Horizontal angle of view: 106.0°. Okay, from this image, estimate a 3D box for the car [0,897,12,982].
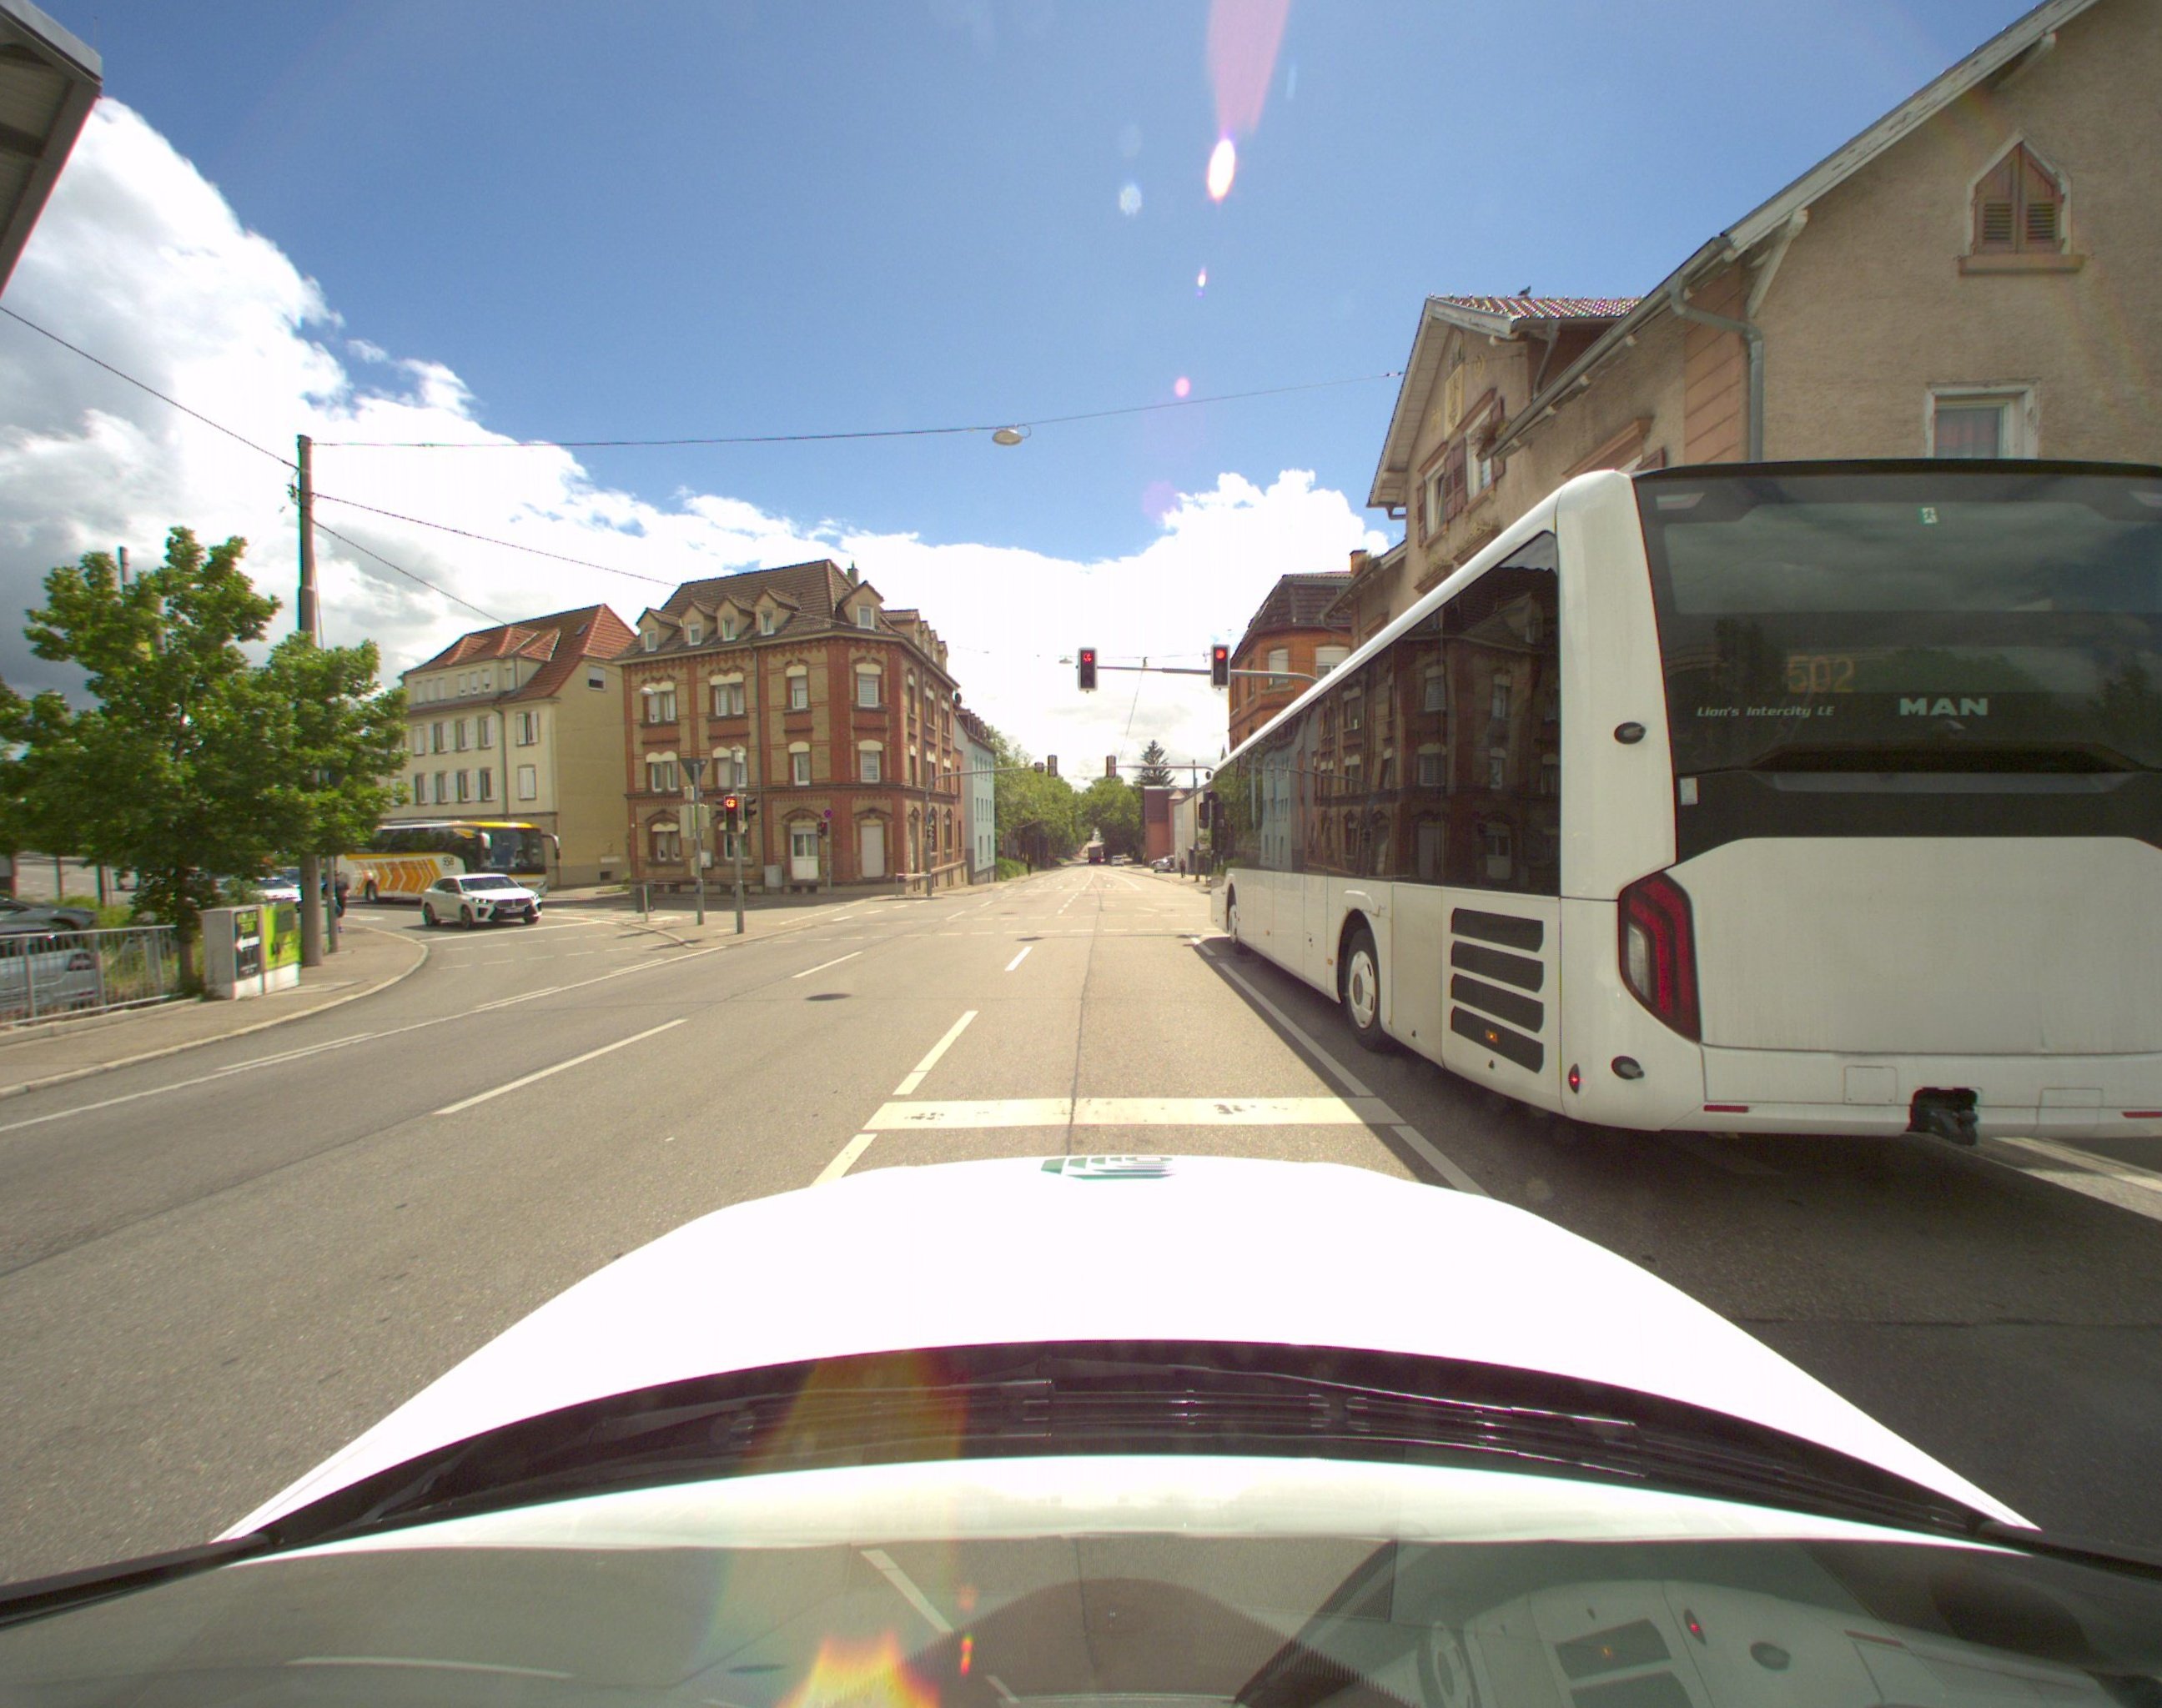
[{"bbox_3d":[-23.397,1.756,16.459,3.455,1.680,1.663,-1,2,30],"label":"car"}]

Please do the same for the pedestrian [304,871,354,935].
[{"bbox_3d":[-21.387,1.384,23.157,1.129,1.734,0.764,-2,-1,34],"label":"pedestrian"}]

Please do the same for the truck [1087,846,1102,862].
[{"bbox_3d":[2.744,-0.039,167.708,2.917,3.081,7.883,-2,0,0],"label":"truck"}]

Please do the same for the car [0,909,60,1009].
[{"bbox_3d":[-19.557,1.836,14.182,3.455,1.526,1.626,-1,2,29],"label":"car"}]

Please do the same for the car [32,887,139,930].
[{"bbox_3d":[-37.592,2.042,30.751,3.456,1.448,1.811,-2,0,26],"label":"car"}]

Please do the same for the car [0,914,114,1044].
[{"bbox_3d":[-16.040,1.809,12.087,3.321,1.560,1.692,0,2,32],"label":"car"}]

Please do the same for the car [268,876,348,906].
[{"bbox_3d":[-38.959,1.856,41.020,3.949,1.409,1.762,-2,0,28],"label":"car"}]

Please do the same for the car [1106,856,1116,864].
[{"bbox_3d":[5.744,1.126,154.015,1.787,1.409,4.421,-1,0,3],"label":"car"}]

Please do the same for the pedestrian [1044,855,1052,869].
[{"bbox_3d":[-4.694,1.179,116.463,0.991,2.013,1.189,-2,0,1],"label":"pedestrian"}]

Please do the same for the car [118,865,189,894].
[{"bbox_3d":[-53.666,1.460,47.102,3.949,1.554,1.923,-2,0,29],"label":"car"}]

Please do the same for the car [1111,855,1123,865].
[{"bbox_3d":[5.751,0.951,129.516,1.787,1.409,4.001,-1,0,2],"label":"car"}]

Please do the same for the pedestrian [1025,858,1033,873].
[{"bbox_3d":[-5.563,1.261,87.584,0.727,1.565,0.561,-1,-1,0],"label":"pedestrian"}]

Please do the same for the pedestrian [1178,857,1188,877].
[{"bbox_3d":[8.728,1.113,69.902,0.736,1.750,0.619,-2,0,1],"label":"pedestrian"}]

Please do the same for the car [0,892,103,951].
[{"bbox_3d":[-29.492,1.860,22.110,1.777,1.477,3.522,-2,0,32],"label":"car"}]

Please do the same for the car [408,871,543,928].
[{"bbox_3d":[-18.583,1.405,24.949,4.250,1.552,1.845,-4,-3,32],"label":"car"}]

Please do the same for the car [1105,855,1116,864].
[{"bbox_3d":[5.286,0.989,145.916,1.787,1.409,4.421,-1,0,3],"label":"car"}]

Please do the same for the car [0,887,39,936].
[{"bbox_3d":[-36.295,1.899,25.595,1.785,1.554,4.023,-2,0,25],"label":"car"}]

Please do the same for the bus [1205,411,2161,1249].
[{"bbox_3d":[3.496,-0.097,9.306,2.662,3.155,12.467,0,0,2],"label":"bus"}]

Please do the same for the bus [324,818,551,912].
[{"bbox_3d":[-28.255,0.375,35.486,12.111,3.621,2.788,0,0,26],"label":"bus"}]

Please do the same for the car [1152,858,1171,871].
[{"bbox_3d":[9.223,1.176,93.018,1.788,1.409,4.000,-2,0,1],"label":"car"}]

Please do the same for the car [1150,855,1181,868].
[{"bbox_3d":[11.771,1.046,113.074,3.978,1.757,1.998,-2,0,-3],"label":"car"}]

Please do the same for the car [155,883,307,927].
[{"bbox_3d":[-32.140,1.879,30.968,3.634,1.418,1.865,-1,0,-33],"label":"car"}]
